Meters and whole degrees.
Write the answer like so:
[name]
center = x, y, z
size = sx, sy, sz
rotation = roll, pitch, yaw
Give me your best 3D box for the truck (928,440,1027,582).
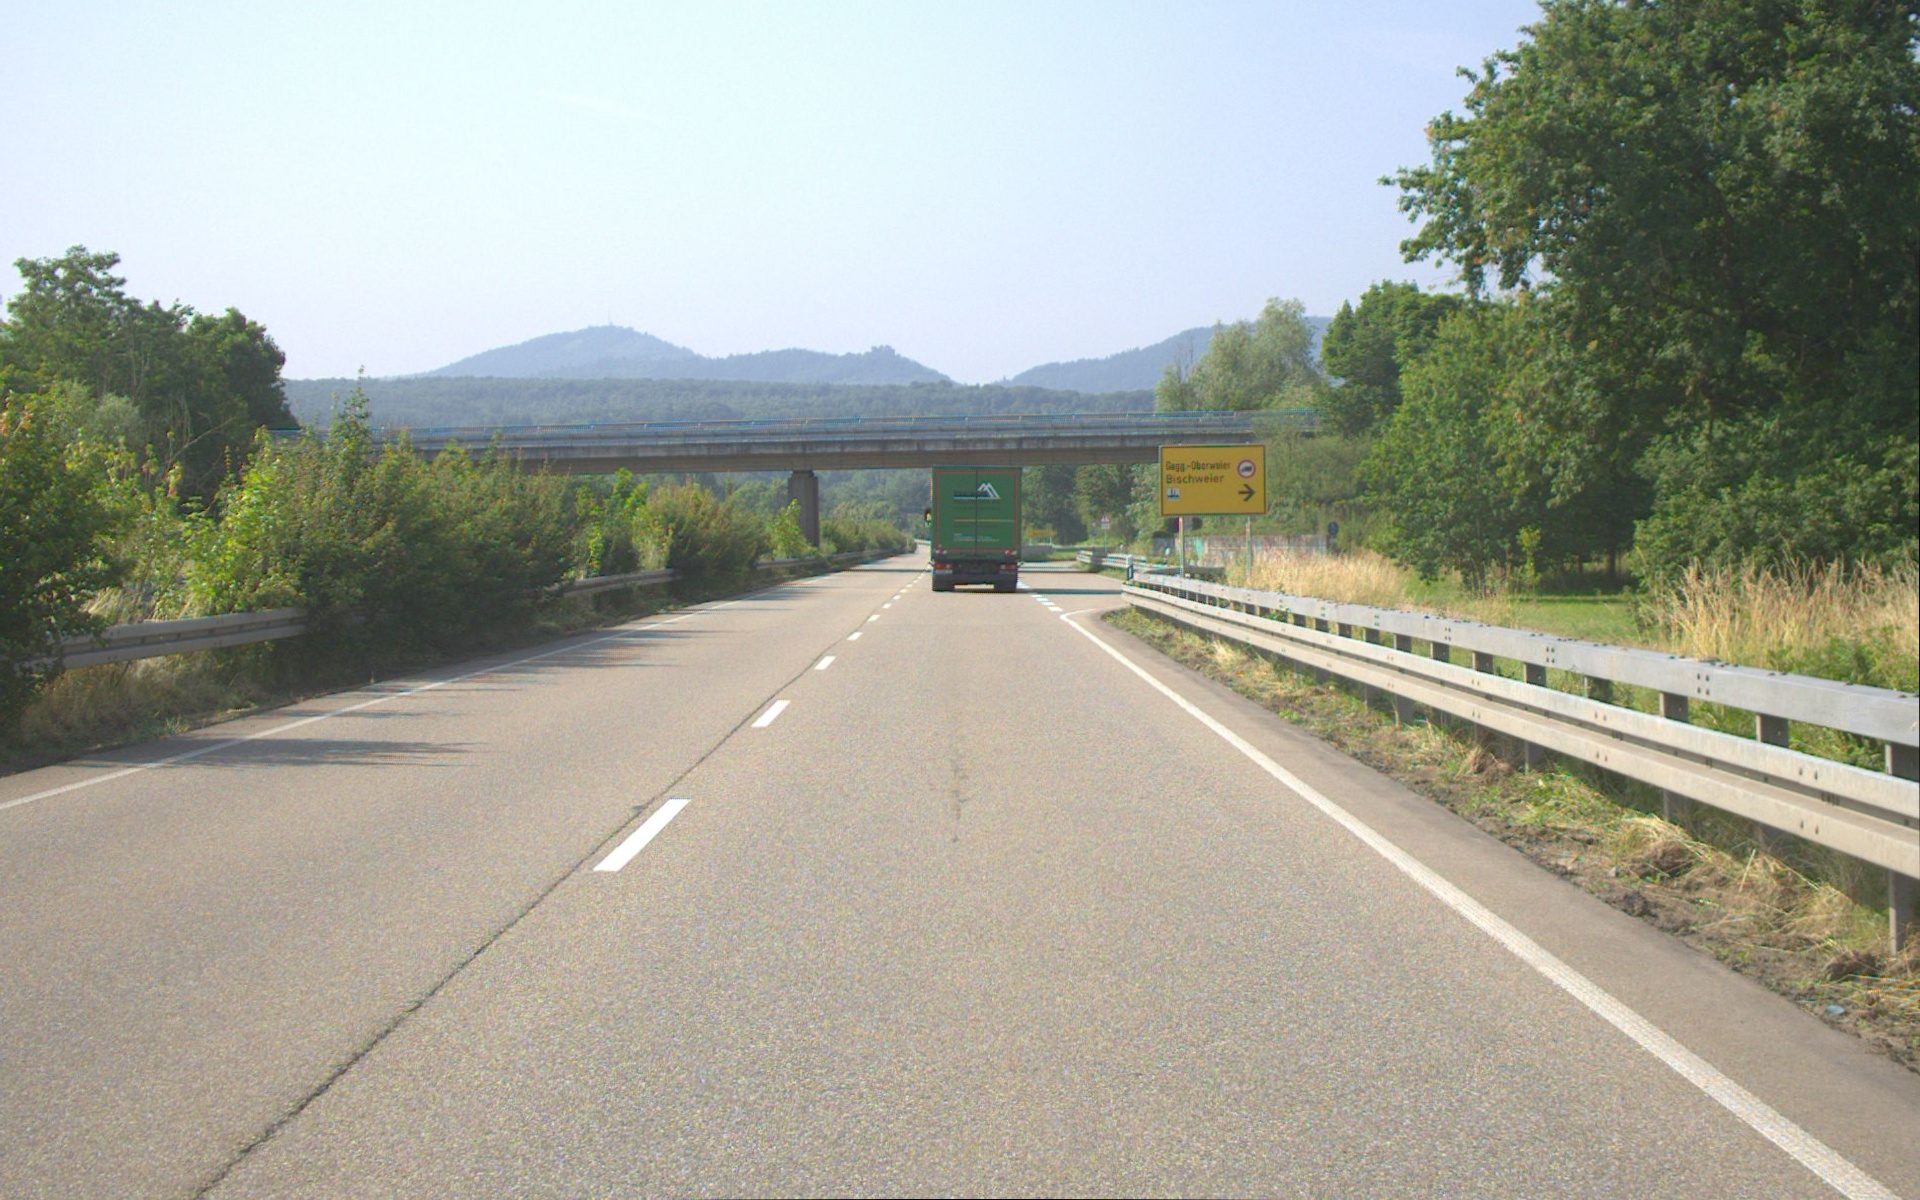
[truck]
center = 0.546, -2.735, 102.150
size = 2.722, 3.951, 10.417
rotation = 1, 2, 0
